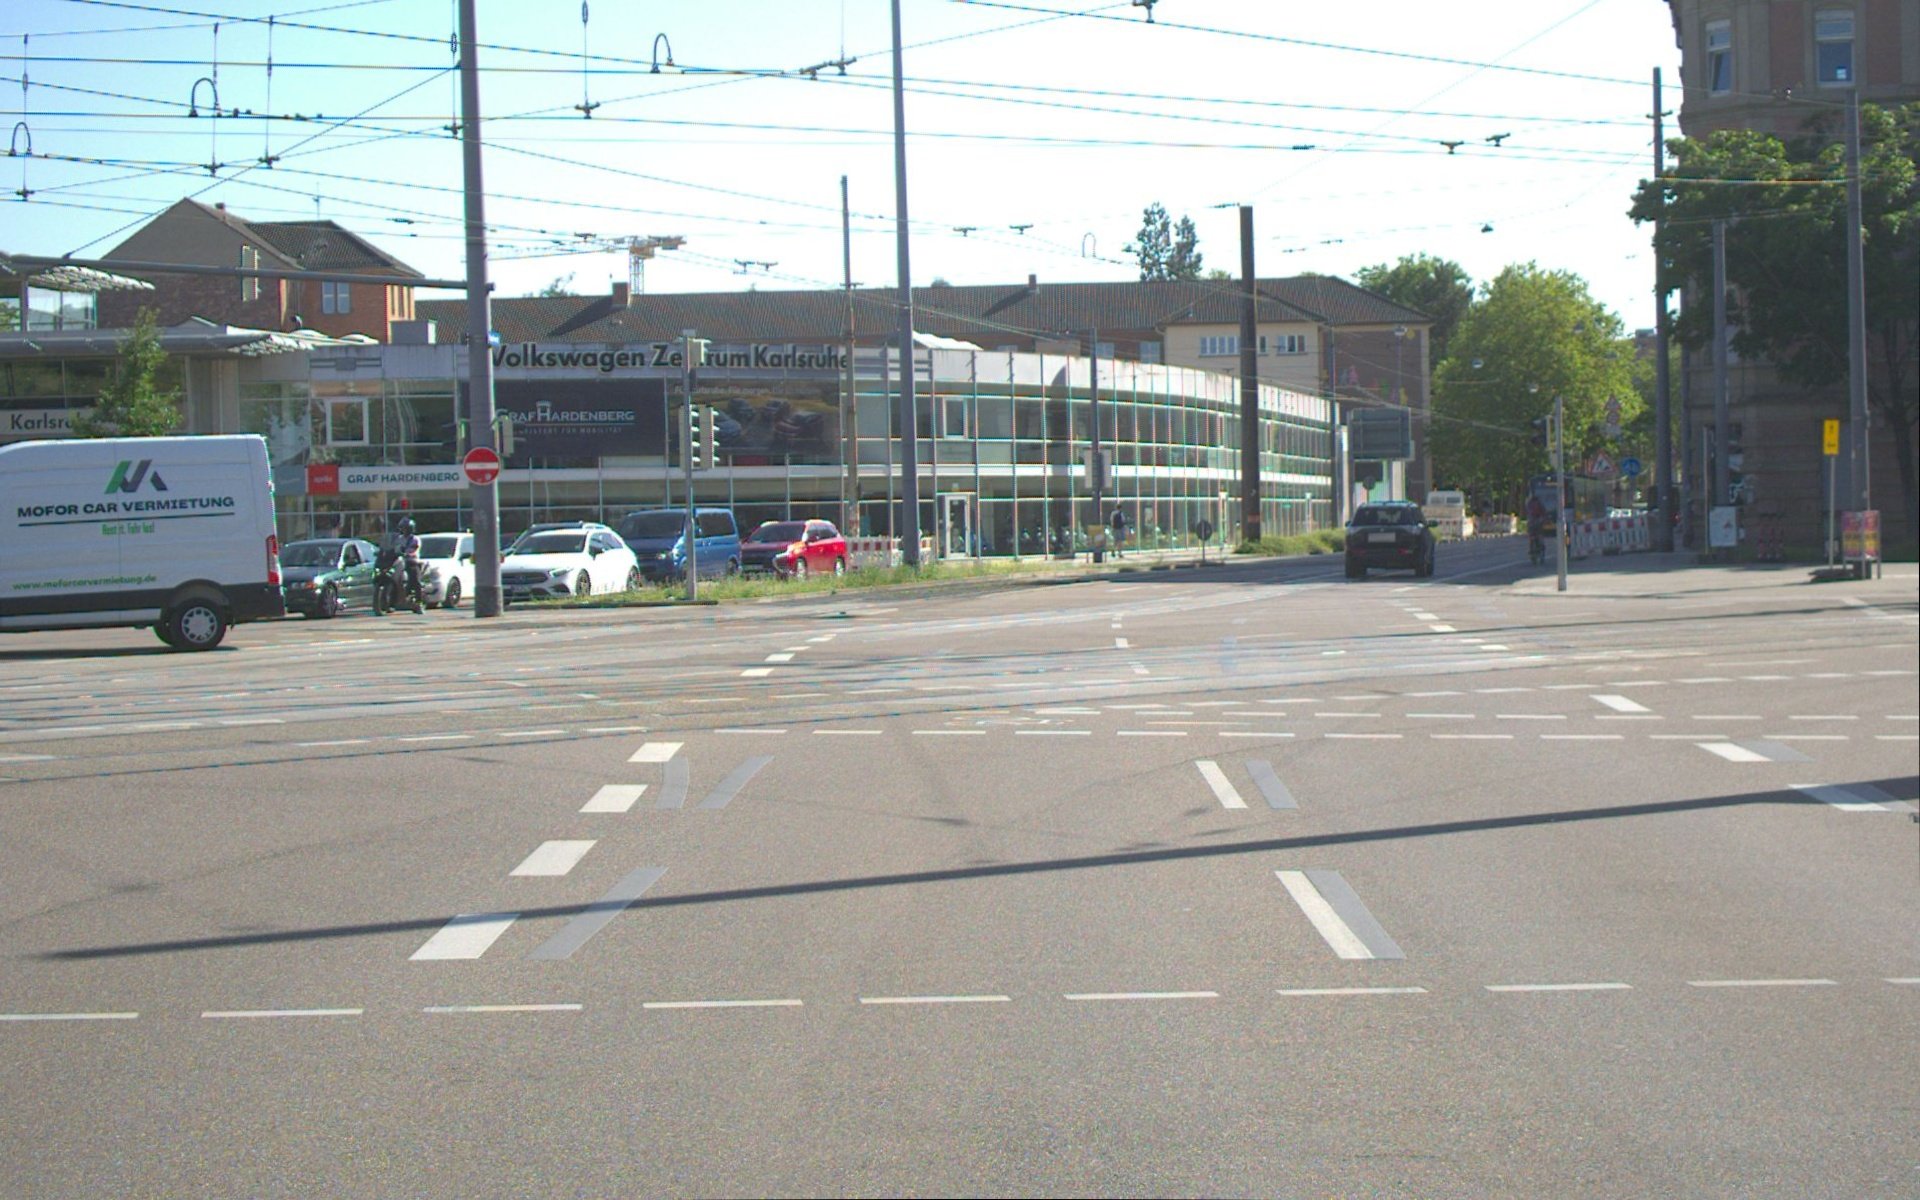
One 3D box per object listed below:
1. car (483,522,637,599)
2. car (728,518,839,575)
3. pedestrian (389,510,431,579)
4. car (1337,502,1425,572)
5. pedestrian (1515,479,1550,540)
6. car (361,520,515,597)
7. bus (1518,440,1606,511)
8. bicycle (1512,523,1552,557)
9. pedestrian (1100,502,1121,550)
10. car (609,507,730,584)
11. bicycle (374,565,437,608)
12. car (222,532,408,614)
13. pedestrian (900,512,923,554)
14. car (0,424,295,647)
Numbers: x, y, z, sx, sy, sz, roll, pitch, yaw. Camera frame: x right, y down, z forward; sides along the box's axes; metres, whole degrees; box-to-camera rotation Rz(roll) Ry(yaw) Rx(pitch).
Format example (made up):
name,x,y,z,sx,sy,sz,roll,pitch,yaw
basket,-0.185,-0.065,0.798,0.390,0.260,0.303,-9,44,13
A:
name,x,y,z,sx,sy,sz,roll,pitch,yaw
car,-7.516,-0.767,64.948,1.627,1.377,3.735,-1,1,14
car,-4.393,-1.345,86.087,1.627,1.359,3.683,-1,1,16
pedestrian,-9.687,-0.979,60.535,0.423,1.200,0.749,-1,1,17
car,9.490,-1.434,77.282,1.700,1.497,4.263,-1,1,10
pedestrian,15.216,-2.403,91.307,0.803,1.626,0.717,-1,1,18
car,-10.116,-0.821,66.829,1.627,1.419,3.683,-1,1,14
bus,35.582,-7.218,202.382,3.839,3.595,24.852,1,1,13
bicycle,15.136,-1.594,90.926,0.743,0.867,1.929,-1,1,18
pedestrian,5.318,-2.619,121.419,0.543,1.683,0.629,-1,1,20
car,-6.641,-1.273,78.960,1.627,1.686,3.683,-1,1,14
bicycle,-9.727,-0.246,60.354,0.423,0.715,1.633,-1,1,17
car,-11.384,-0.493,60.879,1.705,1.349,3.698,-1,1,17
pedestrian,-1.412,-1.941,99.892,0.423,1.200,0.680,-1,1,20
car,-11.695,-0.821,44.100,5.903,2.735,2.145,-2,1,-19
